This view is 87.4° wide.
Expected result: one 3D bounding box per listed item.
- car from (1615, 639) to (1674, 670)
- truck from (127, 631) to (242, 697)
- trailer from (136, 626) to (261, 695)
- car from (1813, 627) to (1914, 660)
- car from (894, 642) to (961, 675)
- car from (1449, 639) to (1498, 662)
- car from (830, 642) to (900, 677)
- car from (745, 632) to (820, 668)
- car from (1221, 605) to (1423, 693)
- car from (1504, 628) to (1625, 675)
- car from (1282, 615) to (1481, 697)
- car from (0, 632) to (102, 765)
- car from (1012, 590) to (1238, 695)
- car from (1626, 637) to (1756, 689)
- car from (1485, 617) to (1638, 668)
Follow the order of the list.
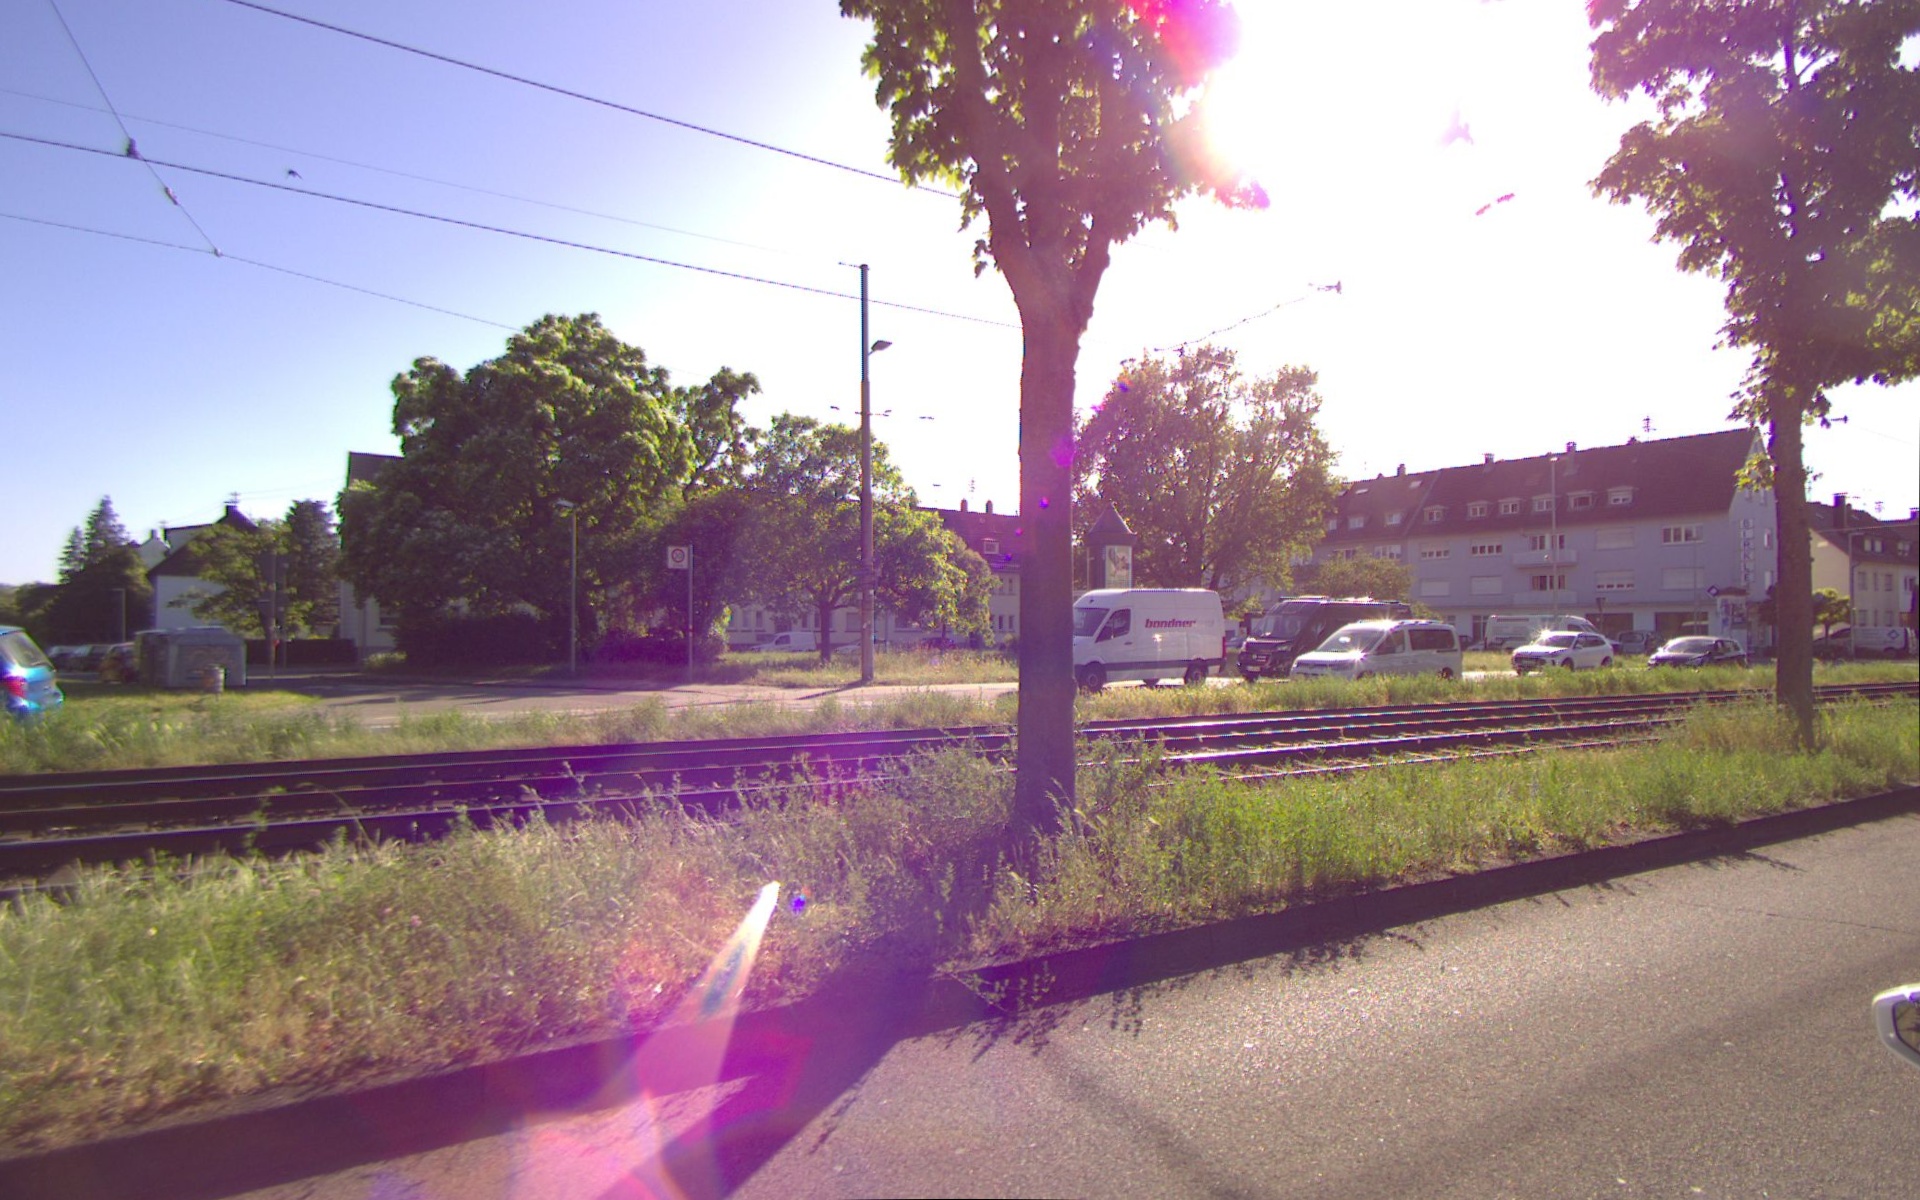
[{"bbox_3d":[40.555,3.196,59.471,4.065,1.692,1.781,2,-1,-39],"label":"car"},{"bbox_3d":[-25.560,2.022,33.047,4.870,1.893,2.074,0,-1,41],"label":"truck"},{"bbox_3d":[-19.117,1.460,25.159,3.704,1.524,1.745,0,-1,41],"label":"trailer"},{"bbox_3d":[57.863,2.756,64.375,1.984,1.971,4.579,2,-2,-40],"label":"car"},{"bbox_3d":[-2.127,3.878,66.541,3.960,2.040,1.981,3,-2,-34],"label":"car"},{"bbox_3d":[34.451,3.357,67.358,3.596,1.468,1.518,2,-2,-36],"label":"car"},{"bbox_3d":[-6.043,3.749,63.736,3.961,2.040,1.980,2,-1,-35],"label":"car"},{"bbox_3d":[-10.635,2.987,60.327,3.966,2.040,1.978,2,-1,-39],"label":"car"},{"bbox_3d":[11.003,1.456,30.339,6.389,2.407,2.172,2,-1,-30],"label":"car"},{"bbox_3d":[22.363,1.890,37.118,4.717,1.628,1.814,2,-1,-30],"label":"car"},{"bbox_3d":[10.092,1.305,23.943,4.923,1.767,1.802,2,-1,-30],"label":"car"},{"bbox_3d":[-12.005,1.054,10.941,3.776,1.413,1.549,2,-1,-31],"label":"car"},{"bbox_3d":[4.465,1.130,26.676,6.067,2.529,1.991,2,-1,-31],"label":"car"},{"bbox_3d":[23.357,1.974,32.100,3.705,1.551,1.985,2,-2,-29],"label":"car"},{"bbox_3d":[33.085,2.277,55.543,2.306,2.540,7.022,1,-1,-34],"label":"car"}]
